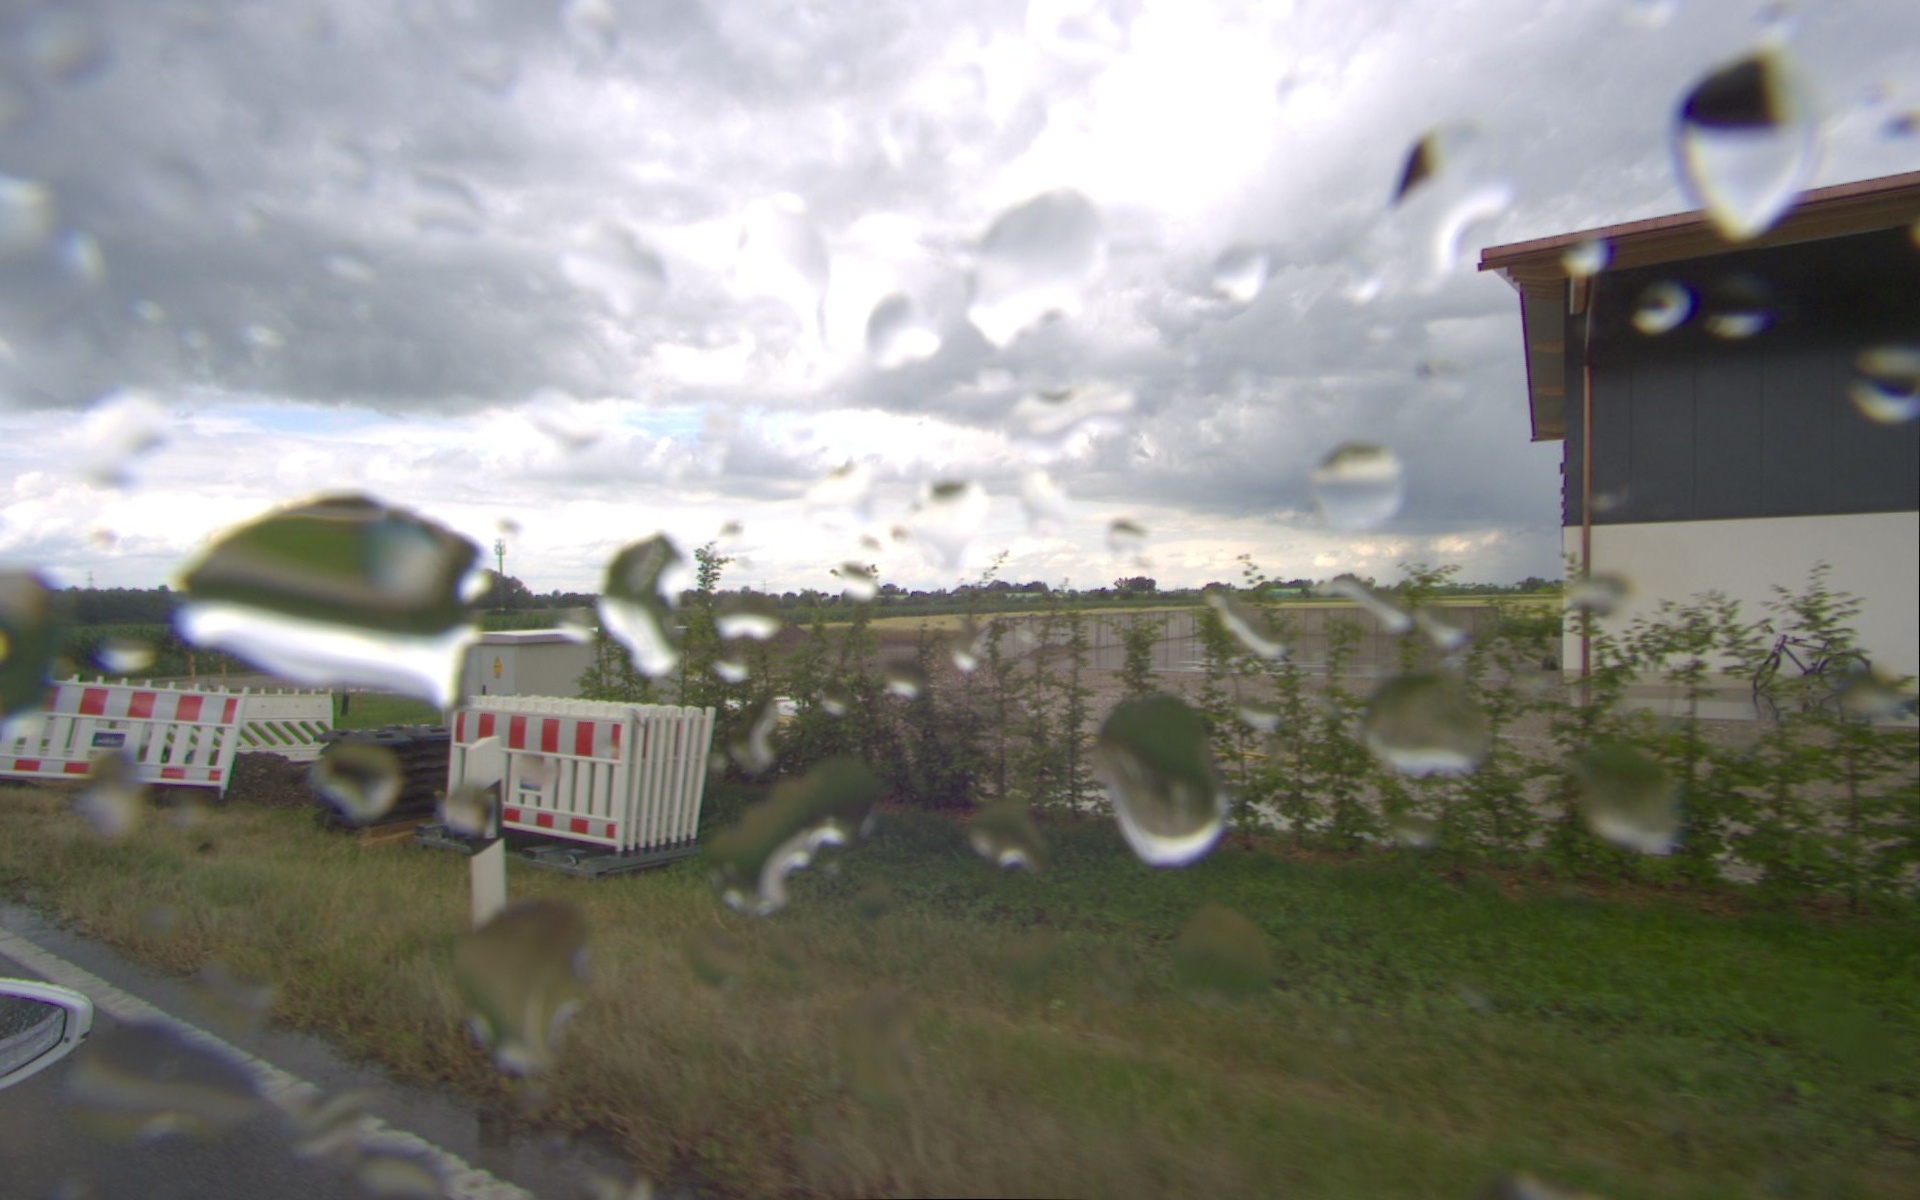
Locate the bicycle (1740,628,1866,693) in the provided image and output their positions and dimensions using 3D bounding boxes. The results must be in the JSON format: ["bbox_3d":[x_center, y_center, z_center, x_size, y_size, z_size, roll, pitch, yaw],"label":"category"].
[{"bbox_3d":[14.726,1.038,17.532,1.637,1.086,0.389,-1,1,33],"label":"bicycle"}]

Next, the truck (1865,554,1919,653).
[{"bbox_3d":[28.014,0.047,26.257,6.069,2.642,2.112,-1,0,33],"label":"truck"}]
